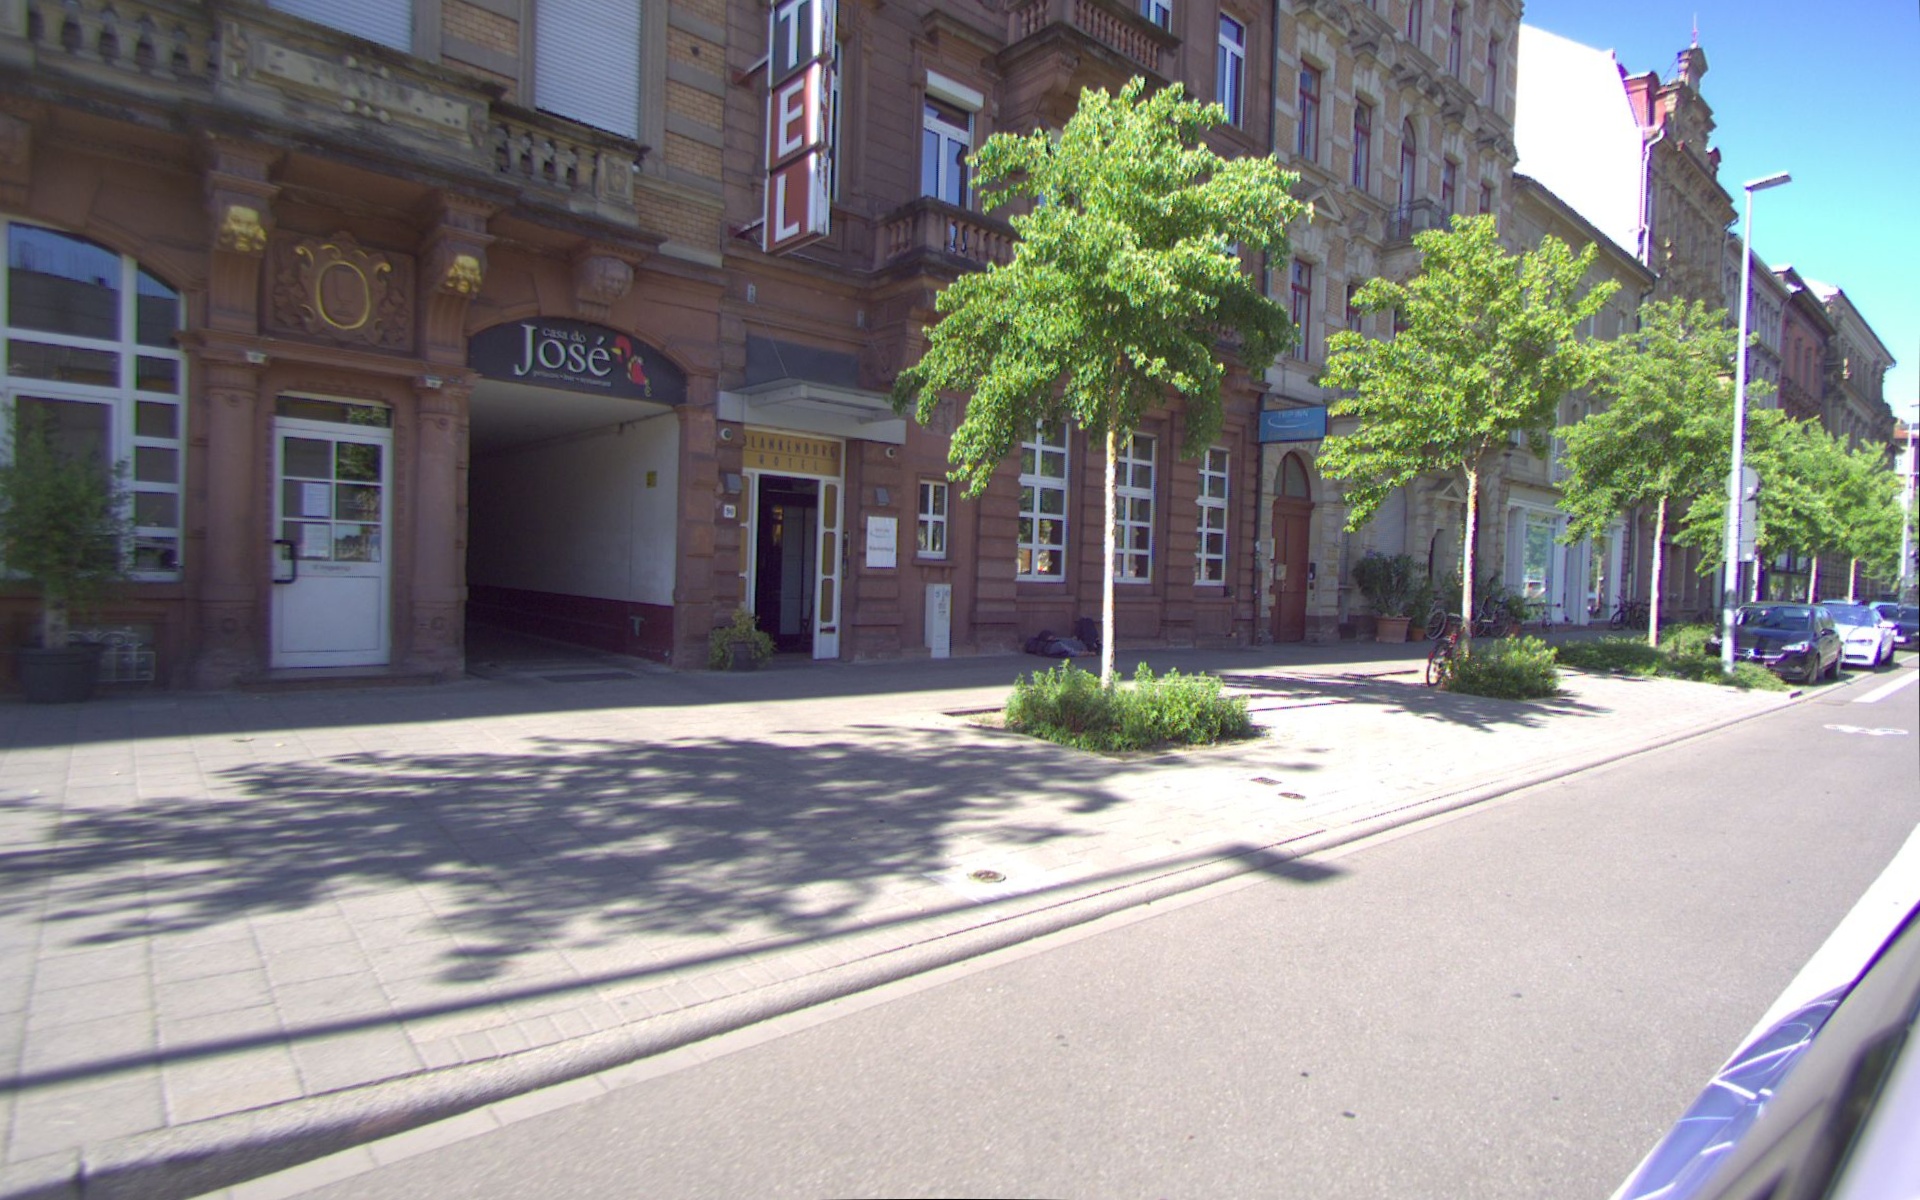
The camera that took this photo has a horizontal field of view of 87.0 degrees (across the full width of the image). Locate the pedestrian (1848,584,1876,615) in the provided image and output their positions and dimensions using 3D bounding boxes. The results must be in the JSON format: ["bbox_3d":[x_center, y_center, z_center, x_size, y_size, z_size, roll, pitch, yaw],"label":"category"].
[{"bbox_3d":[51.720,-0.036,58.009,1.094,1.712,0.972,0,4,-40],"label":"pedestrian"}]

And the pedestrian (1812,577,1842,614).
[{"bbox_3d":[46.159,-0.240,53.857,1.077,1.943,0.893,0,3,-36],"label":"pedestrian"}]

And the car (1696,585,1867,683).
[{"bbox_3d":[16.083,0.561,19.746,4.148,1.588,1.888,-1,5,-42],"label":"car"}]

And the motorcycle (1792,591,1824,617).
[{"bbox_3d":[43.604,0.189,52.006,2.931,1.282,0.867,-1,1,-42],"label":"motorcycle"}]

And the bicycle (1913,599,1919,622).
[{"bbox_3d":[47.080,0.583,48.467,2.045,1.120,0.601,7,5,43],"label":"bicycle"}]

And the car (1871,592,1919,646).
[{"bbox_3d":[30.498,0.588,32.282,4.376,1.494,1.768,-1,5,-44],"label":"car"}]

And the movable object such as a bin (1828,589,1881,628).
[{"bbox_3d":[37.883,0.340,42.852,1.718,1.513,1.377,-1,5,-40],"label":"movable object such as a bin"}]

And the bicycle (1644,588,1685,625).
[{"bbox_3d":[24.769,0.221,35.554,1.770,1.215,0.749,-1,3,-42],"label":"bicycle"}]

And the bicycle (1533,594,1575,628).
[{"bbox_3d":[17.384,0.326,29.595,1.978,0.957,0.448,0,1,-42],"label":"bicycle"}]

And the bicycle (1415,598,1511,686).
[{"bbox_3d":[7.450,0.580,14.929,0.650,1.133,2.139,4,4,43],"label":"bicycle"}]

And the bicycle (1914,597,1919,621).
[{"bbox_3d":[47.907,0.554,49.139,2.141,1.168,0.424,6,4,36],"label":"bicycle"}]

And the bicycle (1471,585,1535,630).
[{"bbox_3d":[14.208,0.189,26.437,2.160,1.103,0.722,0,3,-41],"label":"bicycle"}]

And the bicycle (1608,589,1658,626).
[{"bbox_3d":[22.408,0.221,33.680,2.146,1.118,0.877,0,5,-44],"label":"bicycle"}]

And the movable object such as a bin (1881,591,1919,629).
[{"bbox_3d":[39.049,0.428,41.752,1.613,1.482,1.275,3,-1,-37],"label":"movable object such as a bin"}]

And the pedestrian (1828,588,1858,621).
[{"bbox_3d":[45.880,0.228,52.605,0.975,1.659,0.973,2,2,-41],"label":"pedestrian"}]

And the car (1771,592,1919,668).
[{"bbox_3d":[21.108,0.620,24.052,5.016,1.513,1.956,0,4,-41],"label":"car"}]

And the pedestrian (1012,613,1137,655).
[{"bbox_3d":[1.781,0.496,15.530,1.973,0.560,0.774,1,2,-42],"label":"pedestrian"}]

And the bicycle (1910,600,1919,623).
[{"bbox_3d":[48.065,0.625,49.474,2.278,1.115,0.480,5,4,35],"label":"bicycle"}]

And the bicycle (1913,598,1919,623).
[{"bbox_3d":[46.786,0.590,48.195,1.976,1.137,0.474,8,5,44],"label":"bicycle"}]

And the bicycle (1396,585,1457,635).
[{"bbox_3d":[10.941,0.215,23.688,2.021,1.103,0.482,0,3,-41],"label":"bicycle"}]

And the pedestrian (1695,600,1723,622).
[{"bbox_3d":[30.358,0.433,41.011,0.867,0.828,0.968,1,1,35],"label":"pedestrian"}]

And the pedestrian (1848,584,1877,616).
[{"bbox_3d":[46.960,0.009,52.665,1.061,1.586,0.952,2,2,-42],"label":"pedestrian"}]
